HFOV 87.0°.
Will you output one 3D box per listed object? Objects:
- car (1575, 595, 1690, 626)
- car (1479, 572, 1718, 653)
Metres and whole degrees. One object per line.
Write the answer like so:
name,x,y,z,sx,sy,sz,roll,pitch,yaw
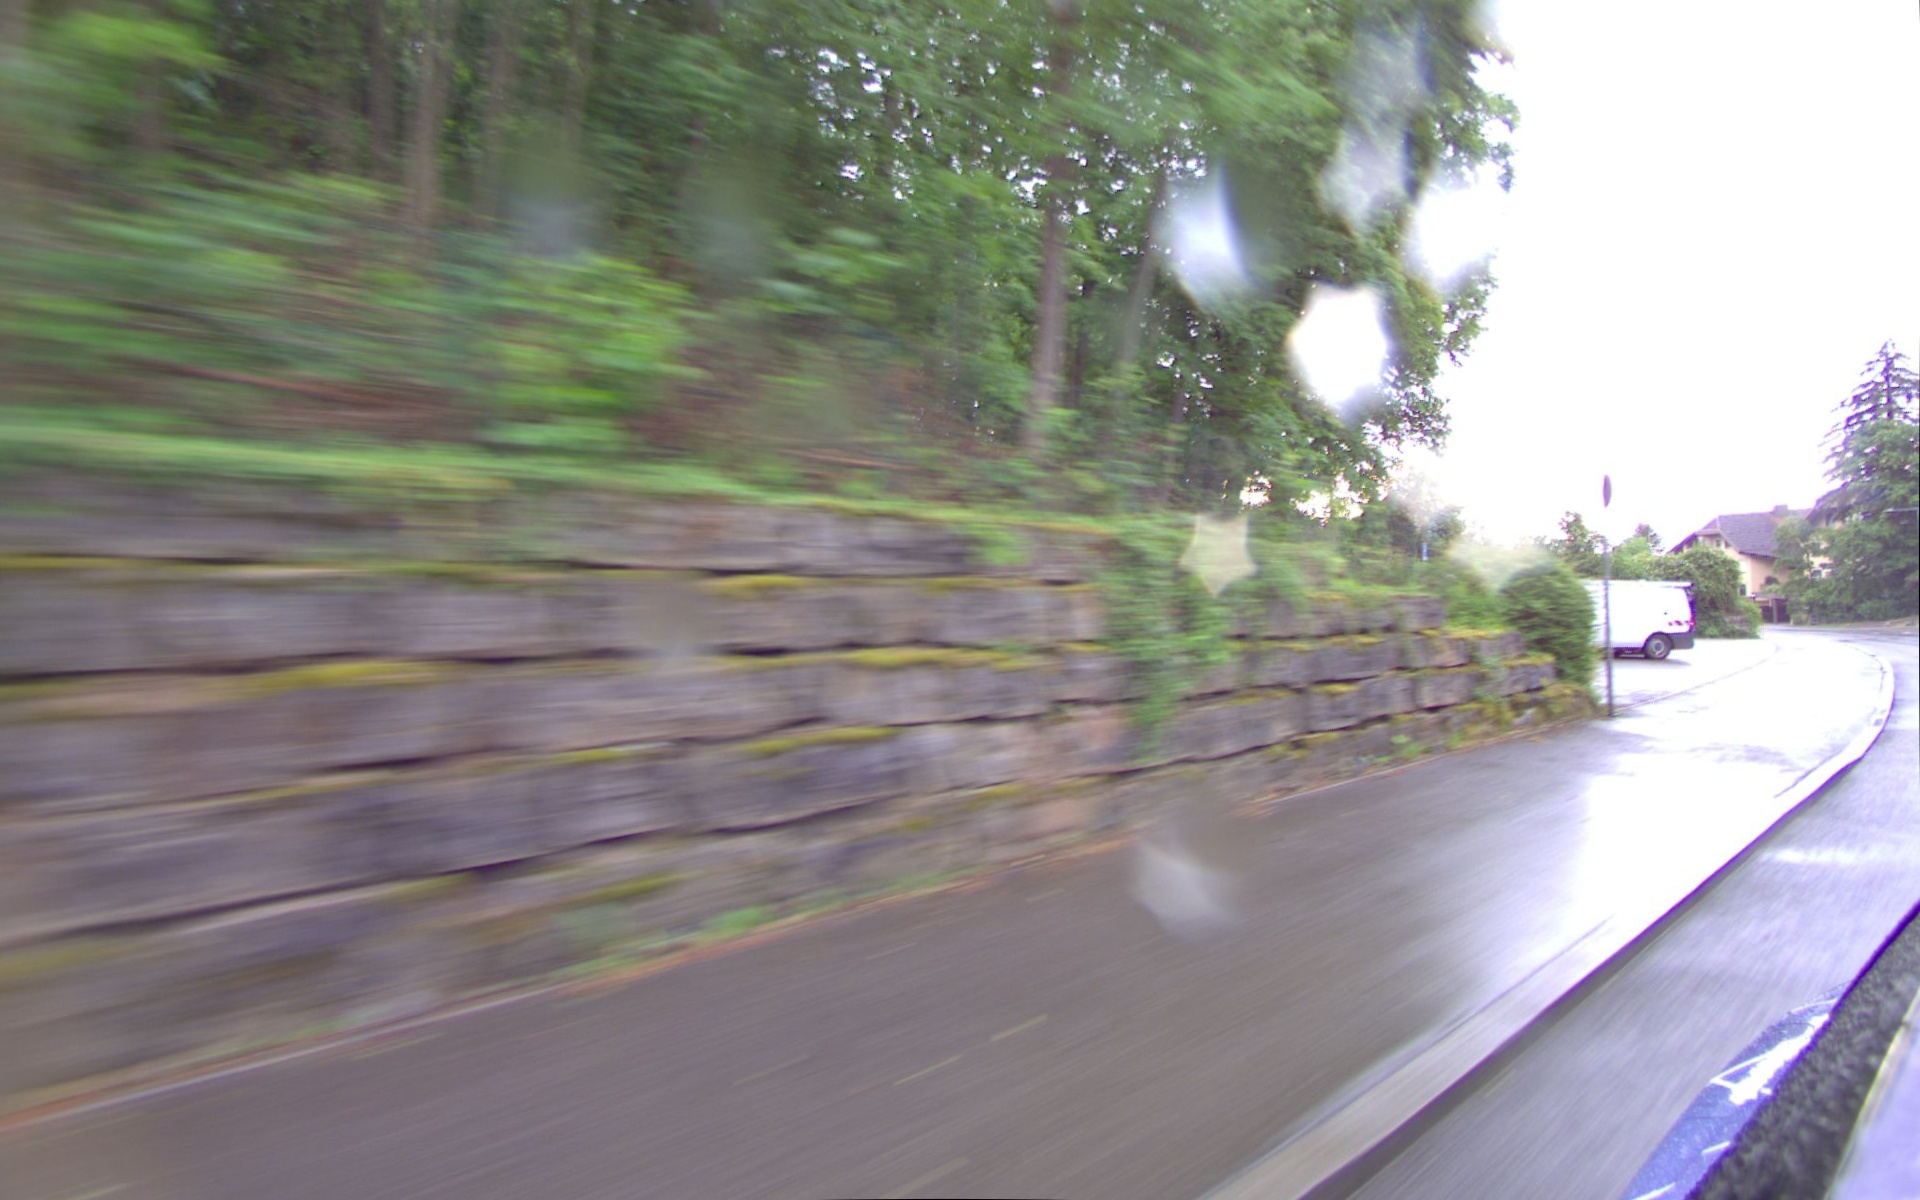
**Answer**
car,32.774,0.492,49.435,4.245,1.483,1.807,0,0,10
car,16.374,0.313,26.135,4.749,1.965,2.156,-1,-1,-1
